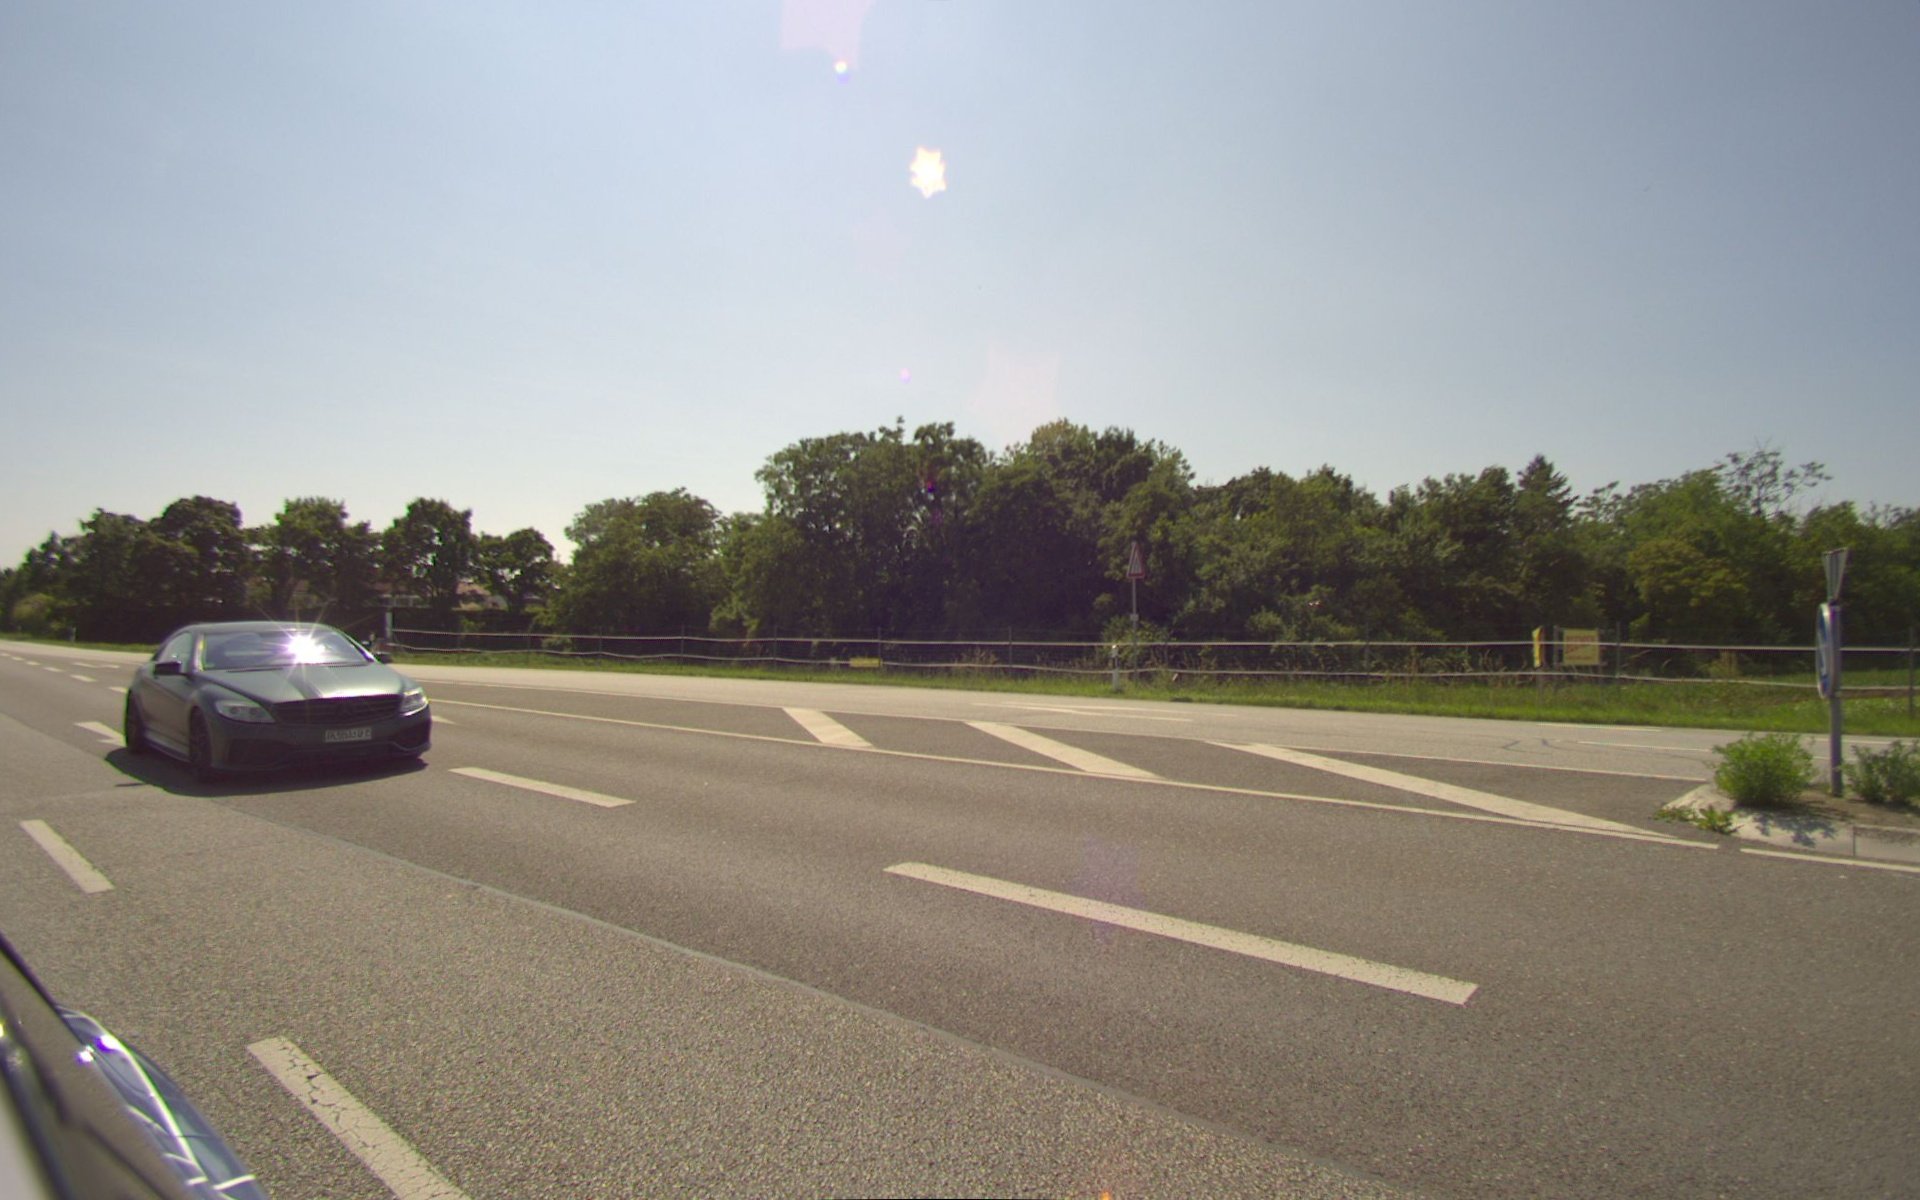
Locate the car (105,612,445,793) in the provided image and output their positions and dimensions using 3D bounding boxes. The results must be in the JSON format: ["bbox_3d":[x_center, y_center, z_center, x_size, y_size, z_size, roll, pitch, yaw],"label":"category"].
[{"bbox_3d":[-7.328,0.894,10.599,4.875,1.461,1.792,-1,-1,41],"label":"car"}]
